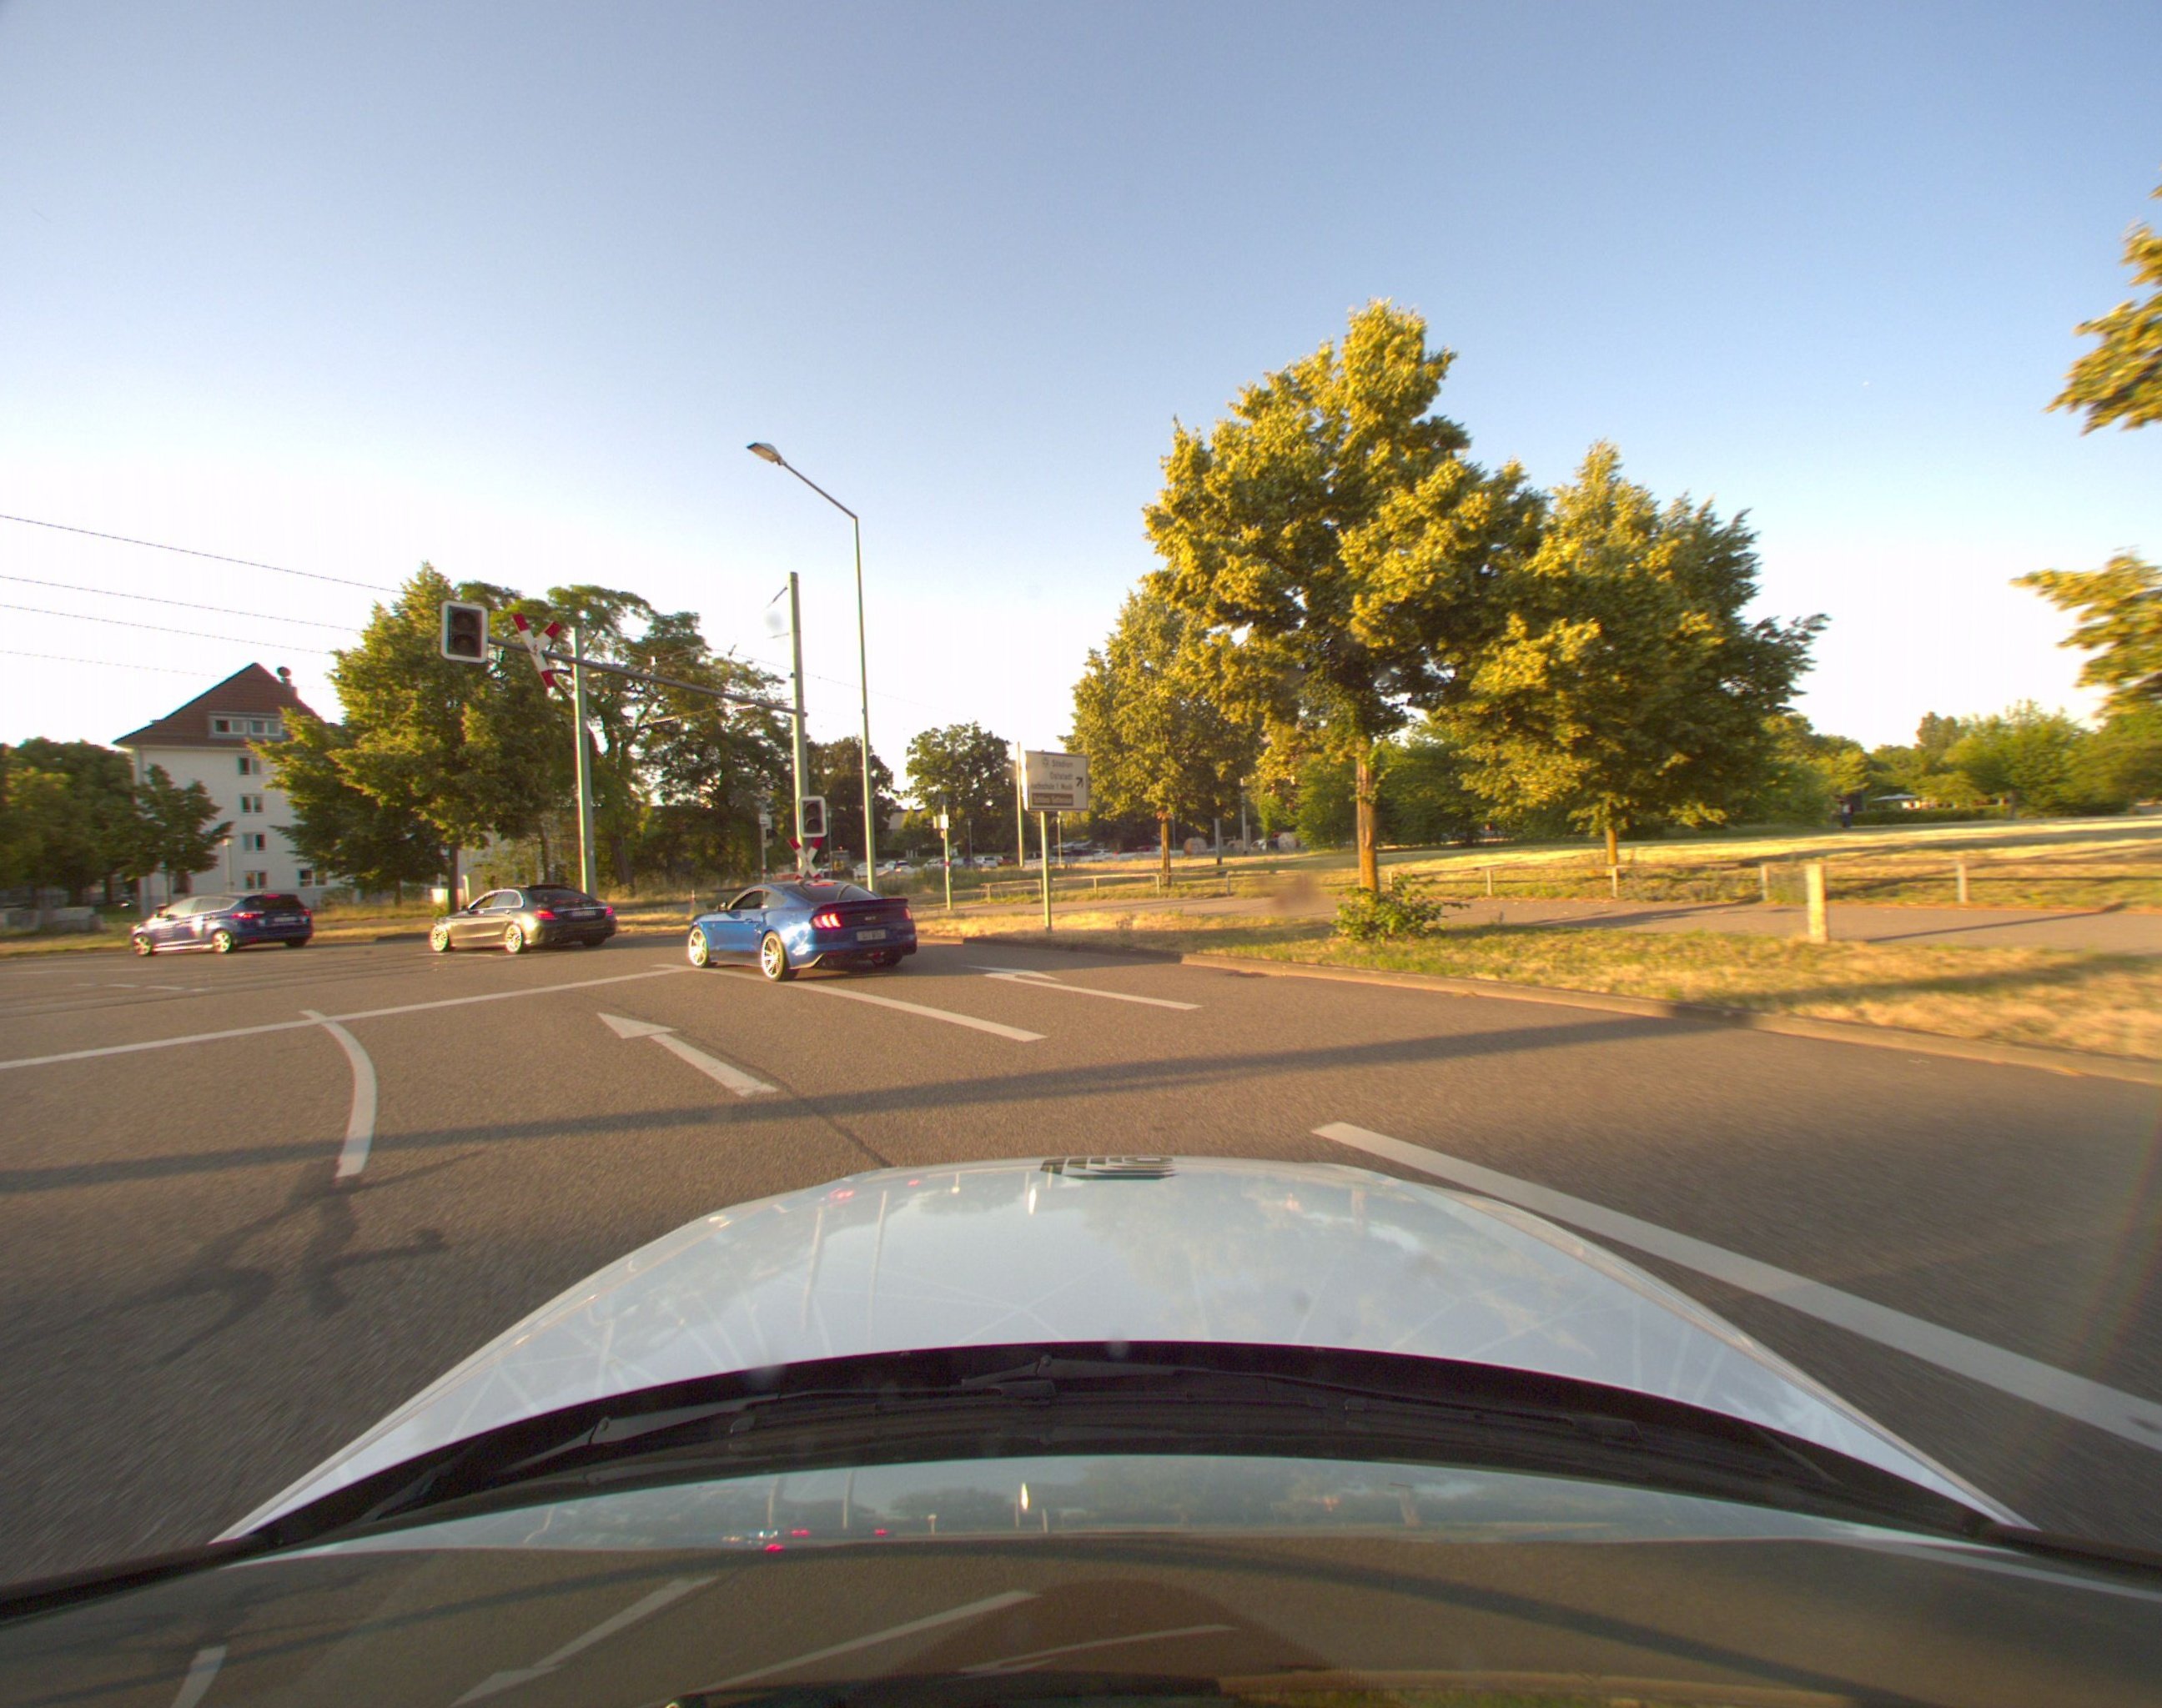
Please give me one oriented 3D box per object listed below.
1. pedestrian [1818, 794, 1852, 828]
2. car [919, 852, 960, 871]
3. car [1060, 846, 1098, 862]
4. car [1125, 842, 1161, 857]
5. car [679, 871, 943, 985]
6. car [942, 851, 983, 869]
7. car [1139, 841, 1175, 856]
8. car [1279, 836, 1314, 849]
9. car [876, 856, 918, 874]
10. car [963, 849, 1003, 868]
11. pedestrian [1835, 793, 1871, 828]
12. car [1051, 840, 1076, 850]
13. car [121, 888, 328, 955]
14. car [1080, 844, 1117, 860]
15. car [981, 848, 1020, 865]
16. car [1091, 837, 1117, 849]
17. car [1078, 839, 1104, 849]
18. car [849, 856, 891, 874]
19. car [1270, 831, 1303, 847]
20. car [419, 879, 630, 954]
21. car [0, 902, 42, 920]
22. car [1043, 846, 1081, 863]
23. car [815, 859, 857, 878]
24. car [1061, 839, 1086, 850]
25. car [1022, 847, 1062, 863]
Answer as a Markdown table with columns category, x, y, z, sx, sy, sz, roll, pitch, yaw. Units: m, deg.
| category | x | y | z | sx | sy | sz | roll | pitch | yaw |
| --- | --- | --- | --- | --- | --- | --- | --- | --- | --- |
| pedestrian | 42.584 | -2.413 | 46.021 | 1.102 | 1.863 | 0.908 | -3 | 0 | -12 |
| car | -13.735 | 0.716 | 78.857 | 1.964 | 1.662 | 3.951 | -3 | 0 | -44 |
| car | -0.288 | -0.035 | 89.524 | 1.914 | 1.553 | 3.951 | -3 | 0 | -44 |
| car | 7.273 | -0.524 | 95.896 | 1.914 | 1.553 | 3.951 | -3 | 0 | -44 |
| car | -4.269 | 0.990 | 12.400 | 1.969 | 1.342 | 4.612 | -2 | 0 | -44 |
| car | -11.666 | 0.599 | 80.192 | 1.964 | 1.662 | 3.951 | -3 | 0 | -44 |
| car | 9.044 | -0.605 | 97.633 | 1.914 | 1.553 | 3.951 | -3 | 0 | -44 |
| car | 25.288 | -1.368 | 95.709 | 3.566 | 1.482 | 1.721 | -1 | 0 | 43 |
| car | -17.013 | 1.024 | 75.262 | 1.964 | 1.445 | 3.951 | -3 | 0 | -44 |
| car | -9.859 | 0.458 | 81.538 | 1.964 | 1.662 | 3.951 | -3 | 0 | -44 |
| pedestrian | 42.414 | -2.384 | 44.754 | 1.102 | 1.863 | 0.908 | -3 | 0 | -12 |
| car | -3.095 | -1.538 | 141.321 | 4.021 | 1.553 | 1.881 | -3 | 0 | -40 |
| car | -23.304 | 1.818 | 22.230 | 4.038 | 1.602 | 1.964 | -2 | 0 | 11 |
| car | 1.967 | -0.192 | 91.373 | 1.914 | 1.553 | 3.951 | -3 | 0 | -44 |
| car | -8.330 | 0.291 | 83.687 | 1.914 | 1.553 | 3.951 | -3 | 0 | -44 |
| car | 3.761 | -1.747 | 132.739 | 4.022 | 1.744 | 1.976 | -3 | 1 | -41 |
| car | 1.717 | -1.642 | 135.398 | 4.021 | 1.553 | 1.881 | -3 | 0 | -40 |
| car | -19.118 | 1.034 | 73.814 | 1.964 | 1.445 | 3.951 | -3 | 0 | -44 |
| car | 28.627 | -2.091 | 113.694 | 1.914 | 2.095 | 3.951 | -3 | 0 | -44 |
| car | -12.423 | 1.358 | 18.162 | 4.374 | 1.427 | 1.969 | -2 | 0 | 26 |
| car | -99.249 | 5.285 | 76.021 | 1.892 | 1.401 | 3.871 | -3 | 1 | -39 |
| car | -2.100 | 0.044 | 87.875 | 1.914 | 1.553 | 3.951 | -3 | 0 | -44 |
| car | -21.682 | 1.288 | 72.057 | 1.964 | 1.445 | 3.951 | -3 | 0 | -44 |
| car | -1.291 | -1.597 | 138.983 | 4.021 | 1.553 | 1.881 | -3 | 0 | -40 |
| car | -4.154 | 0.125 | 86.501 | 1.914 | 1.553 | 4.048 | -3 | 0 | -44 |
